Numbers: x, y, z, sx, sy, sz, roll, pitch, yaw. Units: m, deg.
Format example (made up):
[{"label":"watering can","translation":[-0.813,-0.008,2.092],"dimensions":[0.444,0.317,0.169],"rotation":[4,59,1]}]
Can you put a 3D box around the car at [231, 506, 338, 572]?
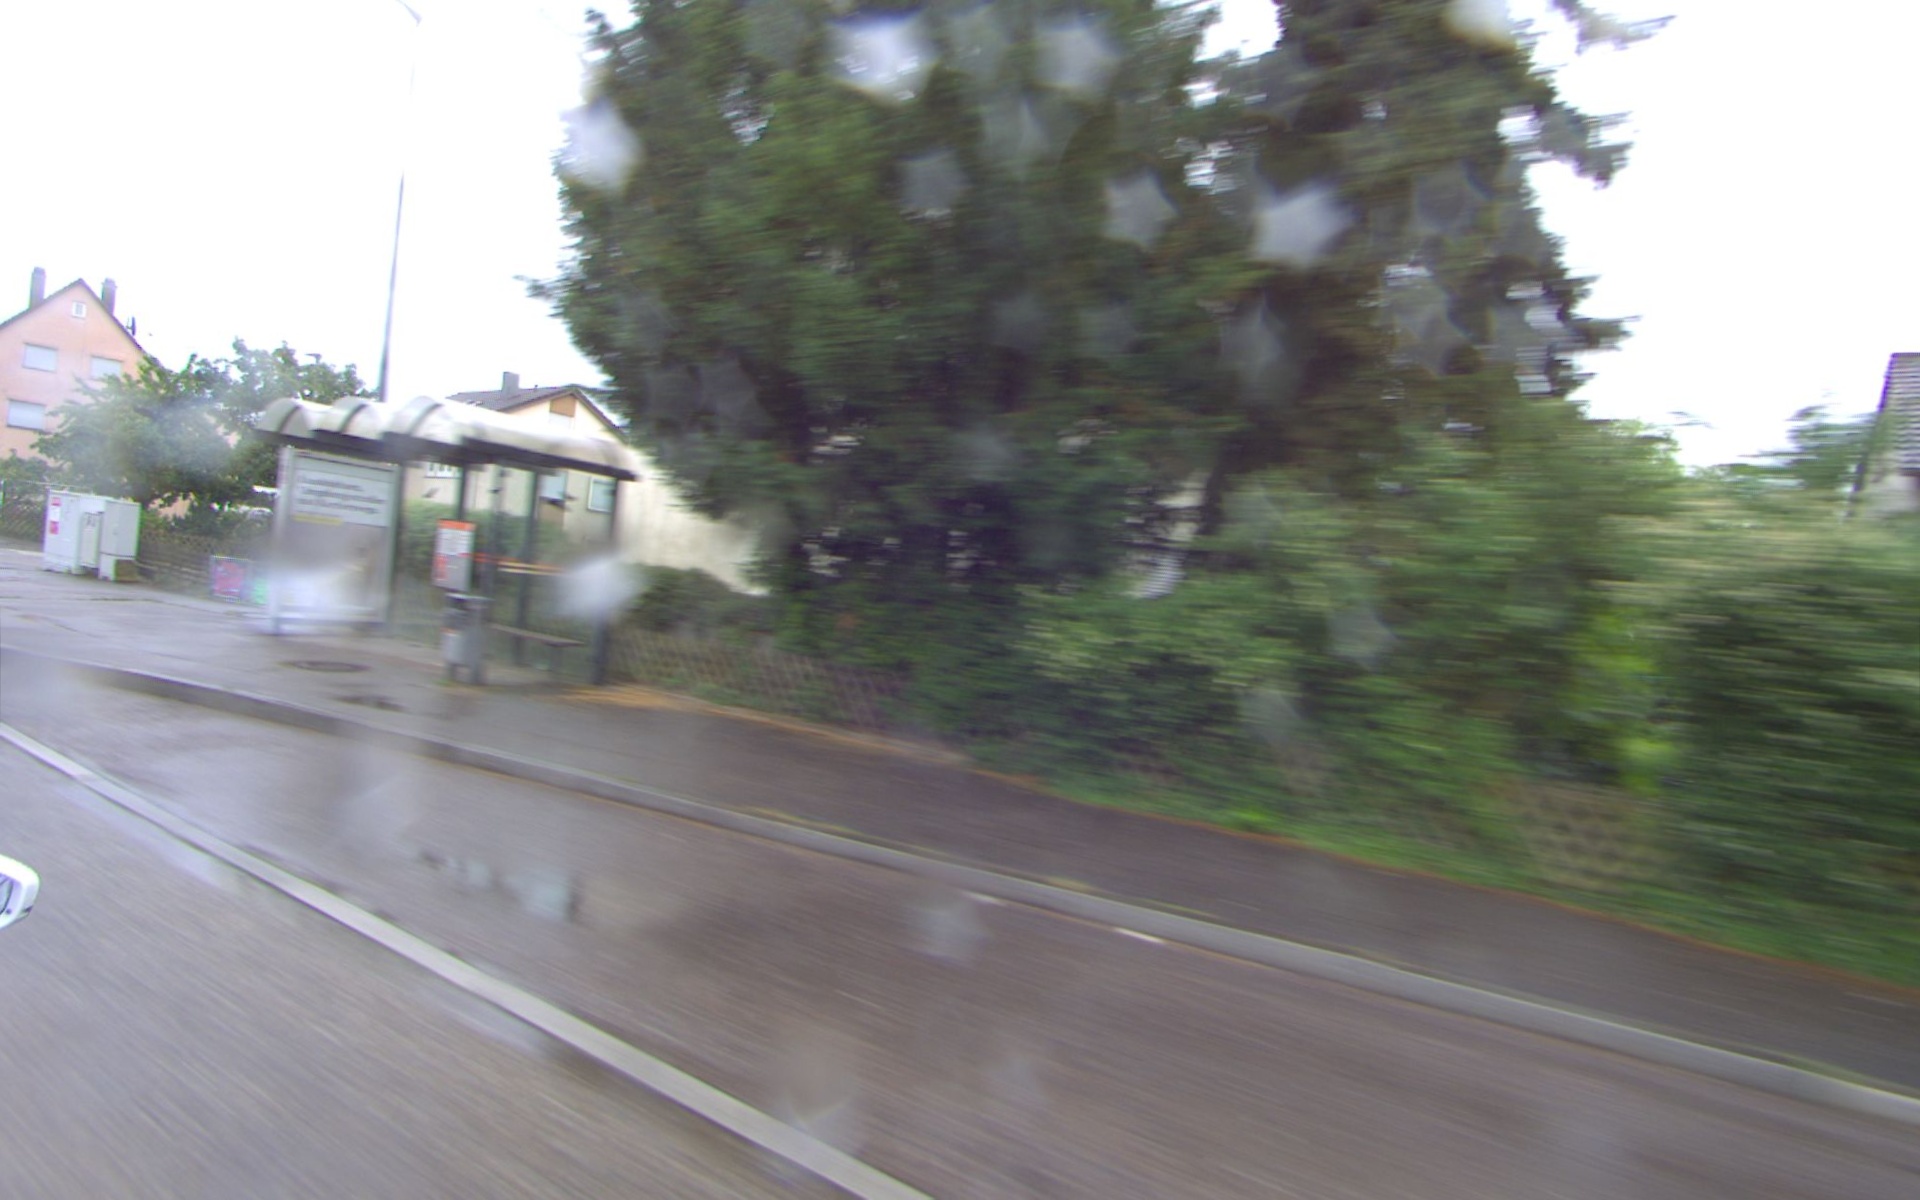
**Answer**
[{"label":"car","translation":[-28.000,-2.557,41.625],"dimensions":[5.105,2.108,1.946],"rotation":[8,0,37]}]
